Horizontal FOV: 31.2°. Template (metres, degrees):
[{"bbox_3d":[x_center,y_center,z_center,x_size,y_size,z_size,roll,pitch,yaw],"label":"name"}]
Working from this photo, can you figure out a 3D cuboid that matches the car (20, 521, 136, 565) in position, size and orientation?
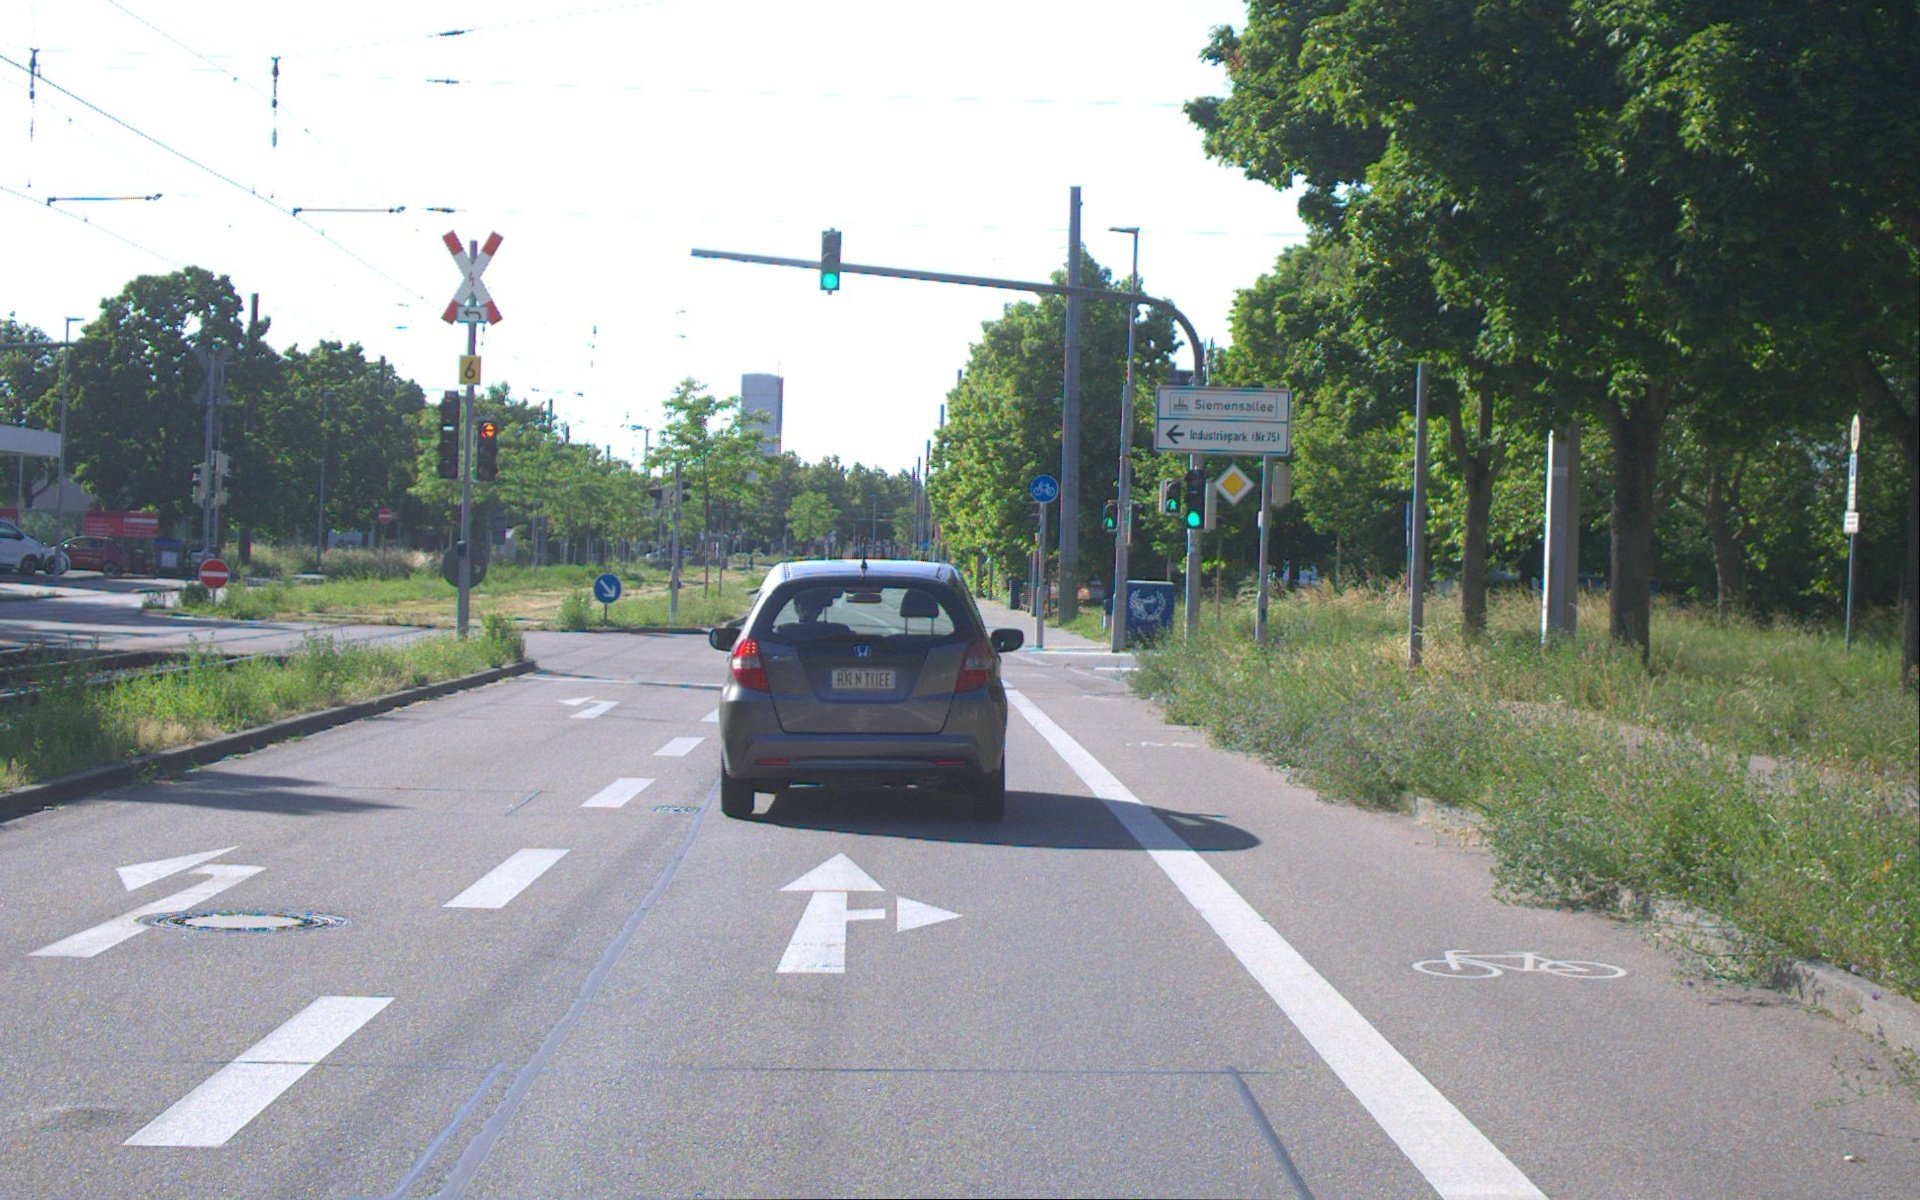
[{"bbox_3d":[-34.218,-2.200,133.445,4.070,1.563,1.792,2,1,-4],"label":"car"}]

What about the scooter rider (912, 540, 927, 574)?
[{"bbox_3d":[-2.277,-2.405,192.857,0.716,1.894,0.935,2,0,-4],"label":"scooter rider"}]

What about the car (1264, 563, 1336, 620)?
[{"bbox_3d":[12.536,-0.330,126.965,1.872,1.960,5.167,3,1,-2],"label":"car"}]

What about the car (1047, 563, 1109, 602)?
[{"bbox_3d":[4.339,-0.645,126.808,1.773,1.382,3.871,1,1,-5],"label":"car"}]

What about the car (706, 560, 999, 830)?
[{"bbox_3d":[-0.587,0.514,21.127,1.624,1.494,3.457,1,1,1],"label":"car"}]

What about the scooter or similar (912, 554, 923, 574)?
[{"bbox_3d":[-2.385,-2.040,192.946,0.539,1.114,1.417,2,0,-4],"label":"scooter or similar"}]

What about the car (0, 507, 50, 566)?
[{"bbox_3d":[-33.483,-2.198,116.792,1.859,1.967,4.775,3,1,39],"label":"car"}]
